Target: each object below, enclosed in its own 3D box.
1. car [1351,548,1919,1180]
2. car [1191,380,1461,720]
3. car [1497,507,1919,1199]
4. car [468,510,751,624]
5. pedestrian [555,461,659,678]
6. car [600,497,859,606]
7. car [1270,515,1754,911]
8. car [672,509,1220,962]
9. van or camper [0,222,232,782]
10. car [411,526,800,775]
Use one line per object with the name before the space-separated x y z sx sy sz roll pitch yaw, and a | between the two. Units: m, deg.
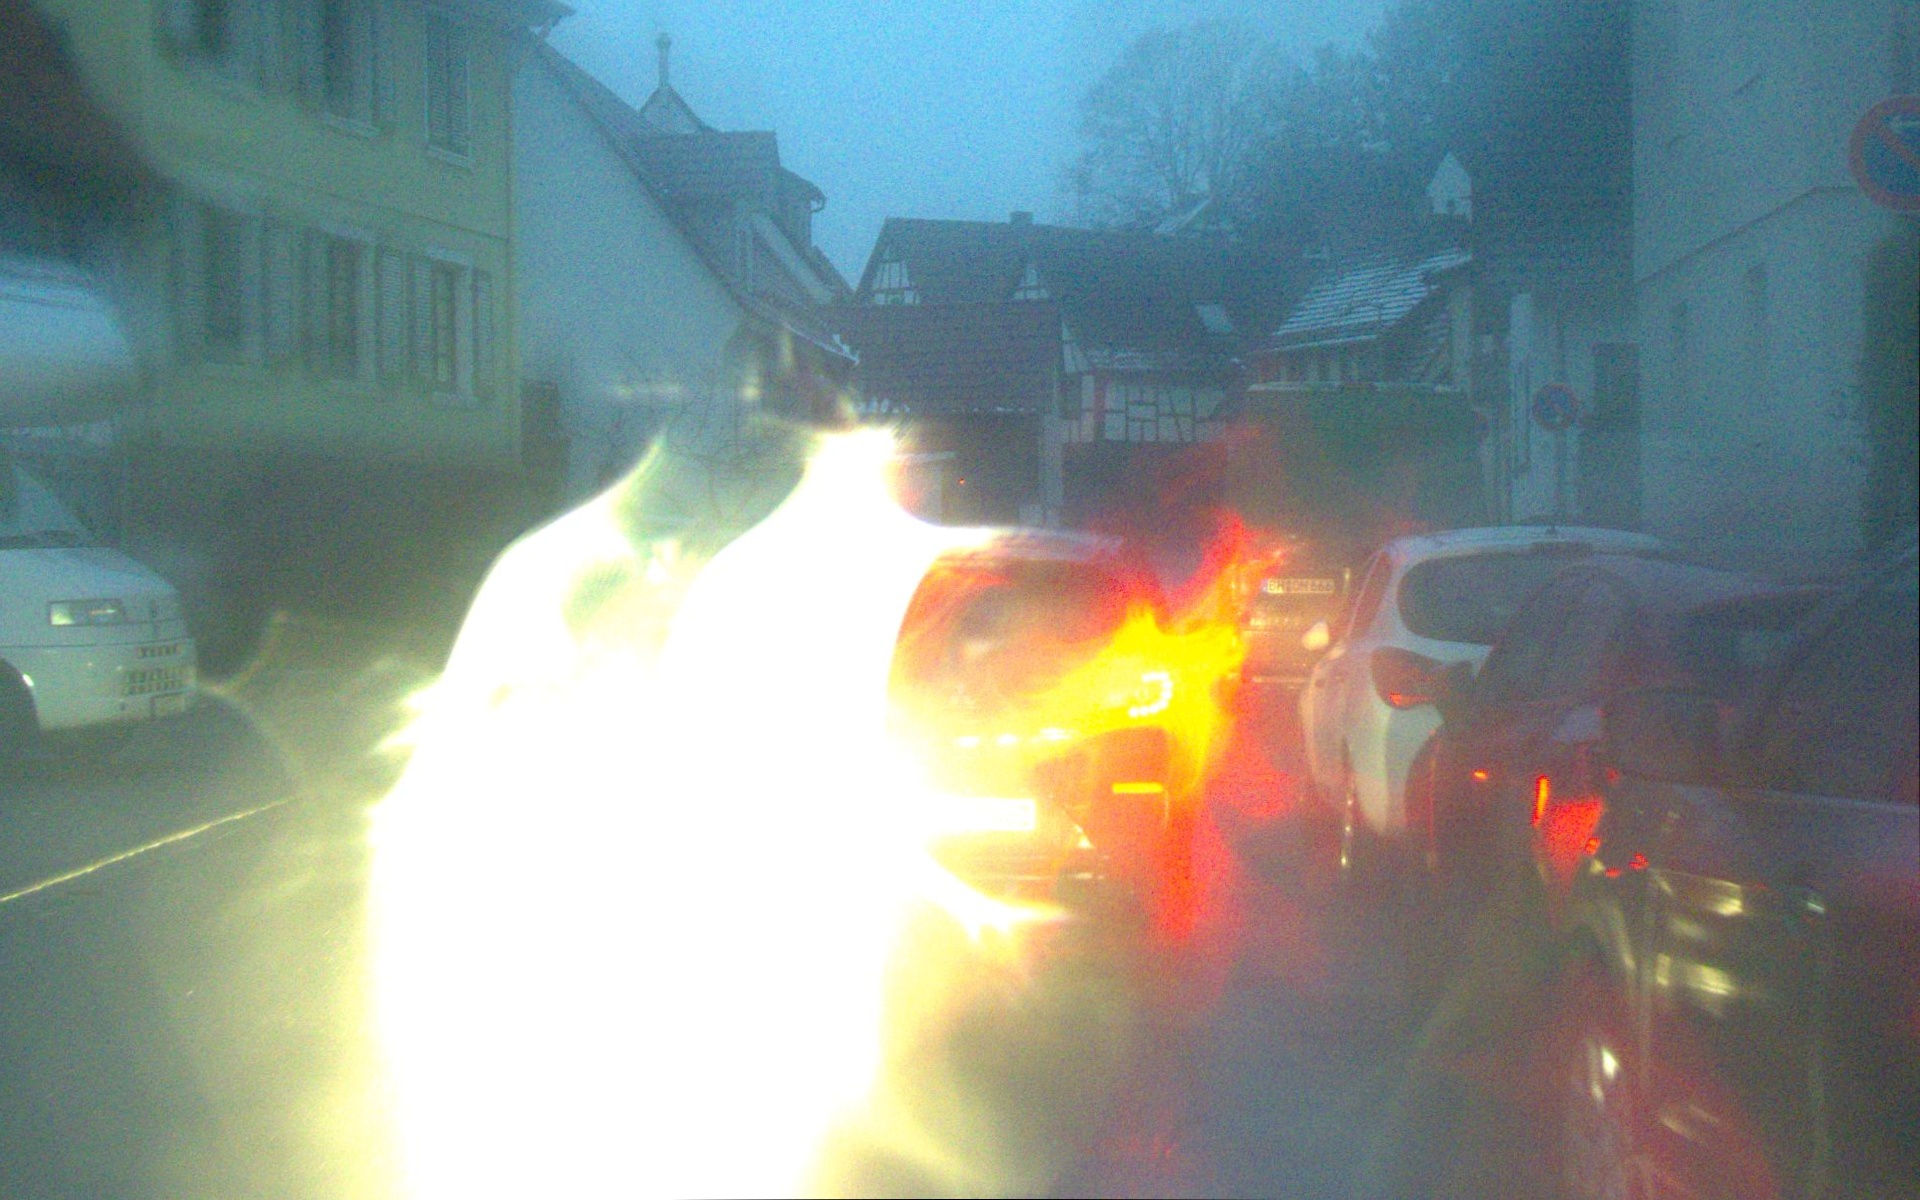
car | 2.135 0.572 9.664 1.679 1.390 3.752 0 1 1
car | 2.723 -0.400 26.280 1.814 2.405 3.751 0 1 2
car | 2.033 0.630 4.902 1.798 1.529 4.001 0 1 -2
car | -4.716 -0.469 46.541 3.508 1.502 1.692 0 1 8
pedestrian | -3.311 -0.294 32.285 0.873 2.007 0.795 0 1 1
car | -3.245 -0.699 48.839 3.508 1.502 1.692 0 1 2
car | 2.277 0.388 15.022 1.725 1.502 3.751 0 1 4
car | -0.018 0.403 13.410 1.795 1.471 4.000 1 1 1
van or camper | -7.579 -0.406 19.719 6.062 2.945 2.406 -3 1 6
car | -2.128 0.245 21.793 1.868 1.397 4.366 0 1 2
